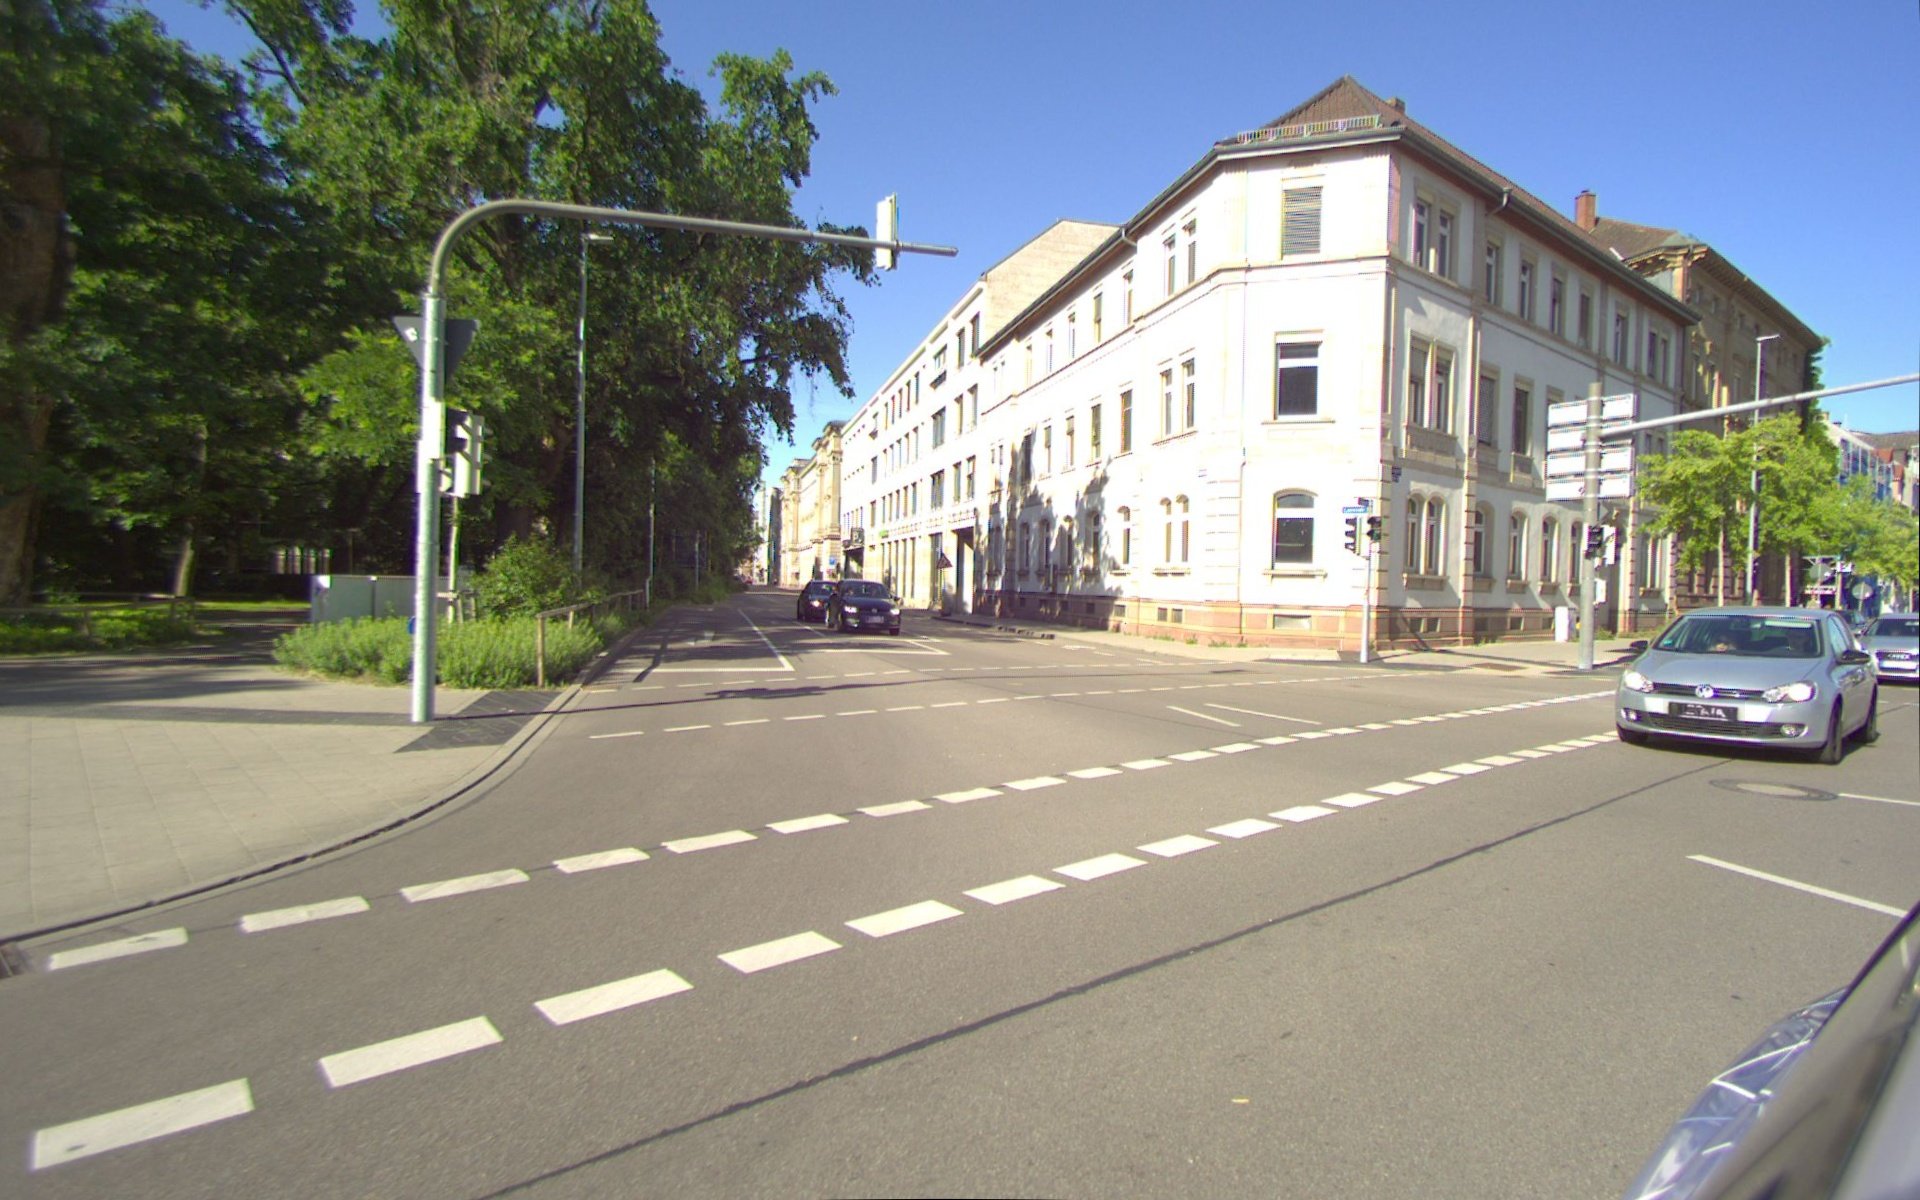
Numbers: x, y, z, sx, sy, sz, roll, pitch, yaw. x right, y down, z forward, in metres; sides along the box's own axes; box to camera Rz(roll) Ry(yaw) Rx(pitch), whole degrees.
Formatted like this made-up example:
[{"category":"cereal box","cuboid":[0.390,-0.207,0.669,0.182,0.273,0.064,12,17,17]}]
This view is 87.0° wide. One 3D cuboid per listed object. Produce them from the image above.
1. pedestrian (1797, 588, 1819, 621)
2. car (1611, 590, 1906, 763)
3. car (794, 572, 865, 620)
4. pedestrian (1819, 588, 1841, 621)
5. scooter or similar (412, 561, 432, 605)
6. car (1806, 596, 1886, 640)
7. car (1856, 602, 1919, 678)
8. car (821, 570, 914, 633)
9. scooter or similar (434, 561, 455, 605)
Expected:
[{"category":"pedestrian","cuboid":[40.994,0.225,48.927,0.891,1.581,0.668,0,0,-41]},{"category":"car","cuboid":[8.542,0.652,10.716,3.929,1.493,1.702,0,0,-40]},{"category":"car","cuboid":[-4.532,-0.163,34.750,1.821,1.457,4.009,3,0,-15]},{"category":"pedestrian","cuboid":[41.569,0.210,48.363,0.891,1.581,0.668,0,0,-41]},{"category":"scooter or similar","cuboid":[-23.781,-0.744,44.735,0.742,1.861,3.236,0,0,-29]},{"category":"car","cuboid":[32.679,0.624,37.310,3.929,1.461,1.609,0,2,-40]},{"category":"car","cuboid":[20.003,0.780,20.803,3.929,1.442,1.838,0,1,-40]},{"category":"car","cuboid":[-2.608,0.031,27.735,1.696,1.501,4.008,4,-1,-16]},{"category":"scooter or similar","cuboid":[-22.969,-0.742,45.058,0.742,1.861,3.236,0,0,-29]}]
